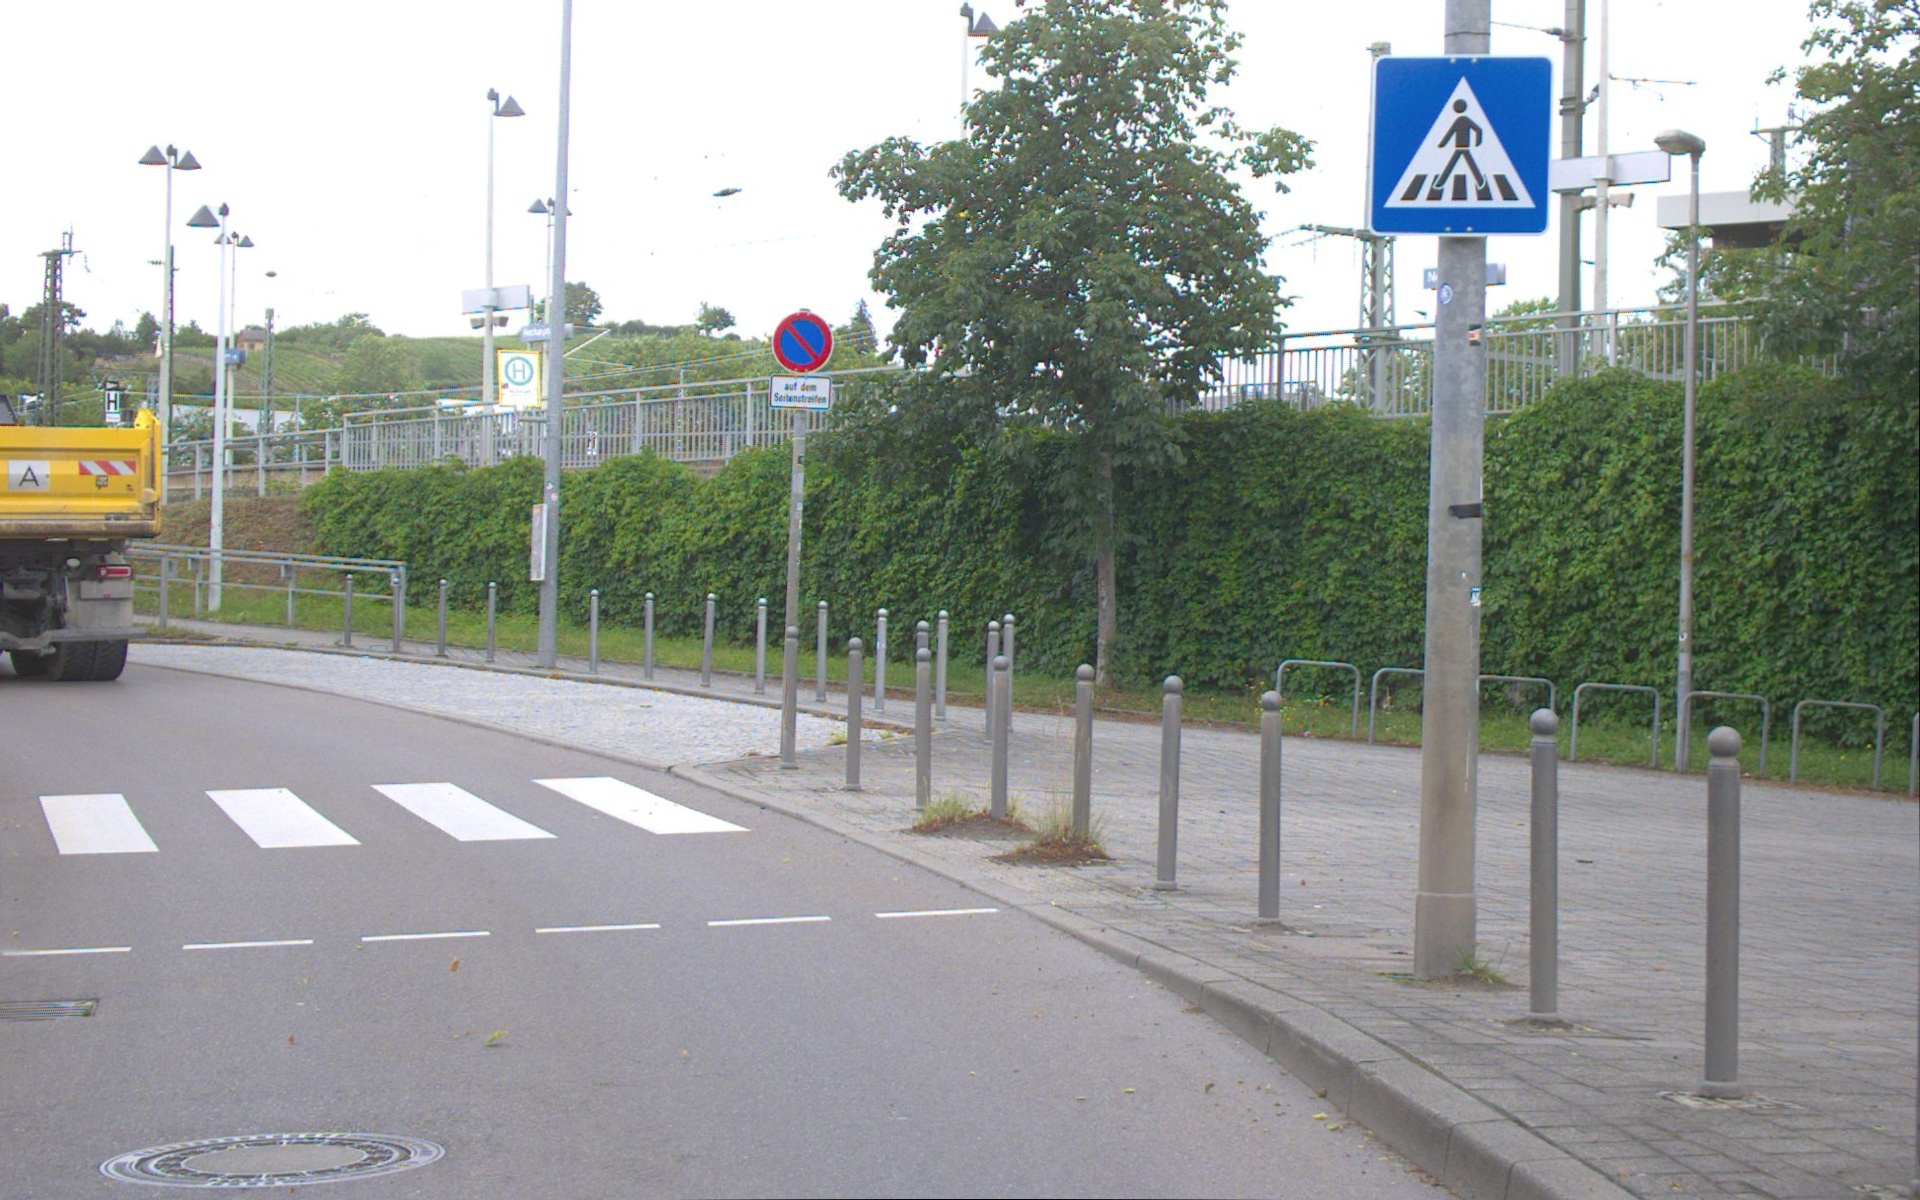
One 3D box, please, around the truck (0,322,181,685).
[{"bbox_3d":[-10.881,-1.092,36.570,2.764,3.471,8.130,0,2,-30],"label":"truck"}]
